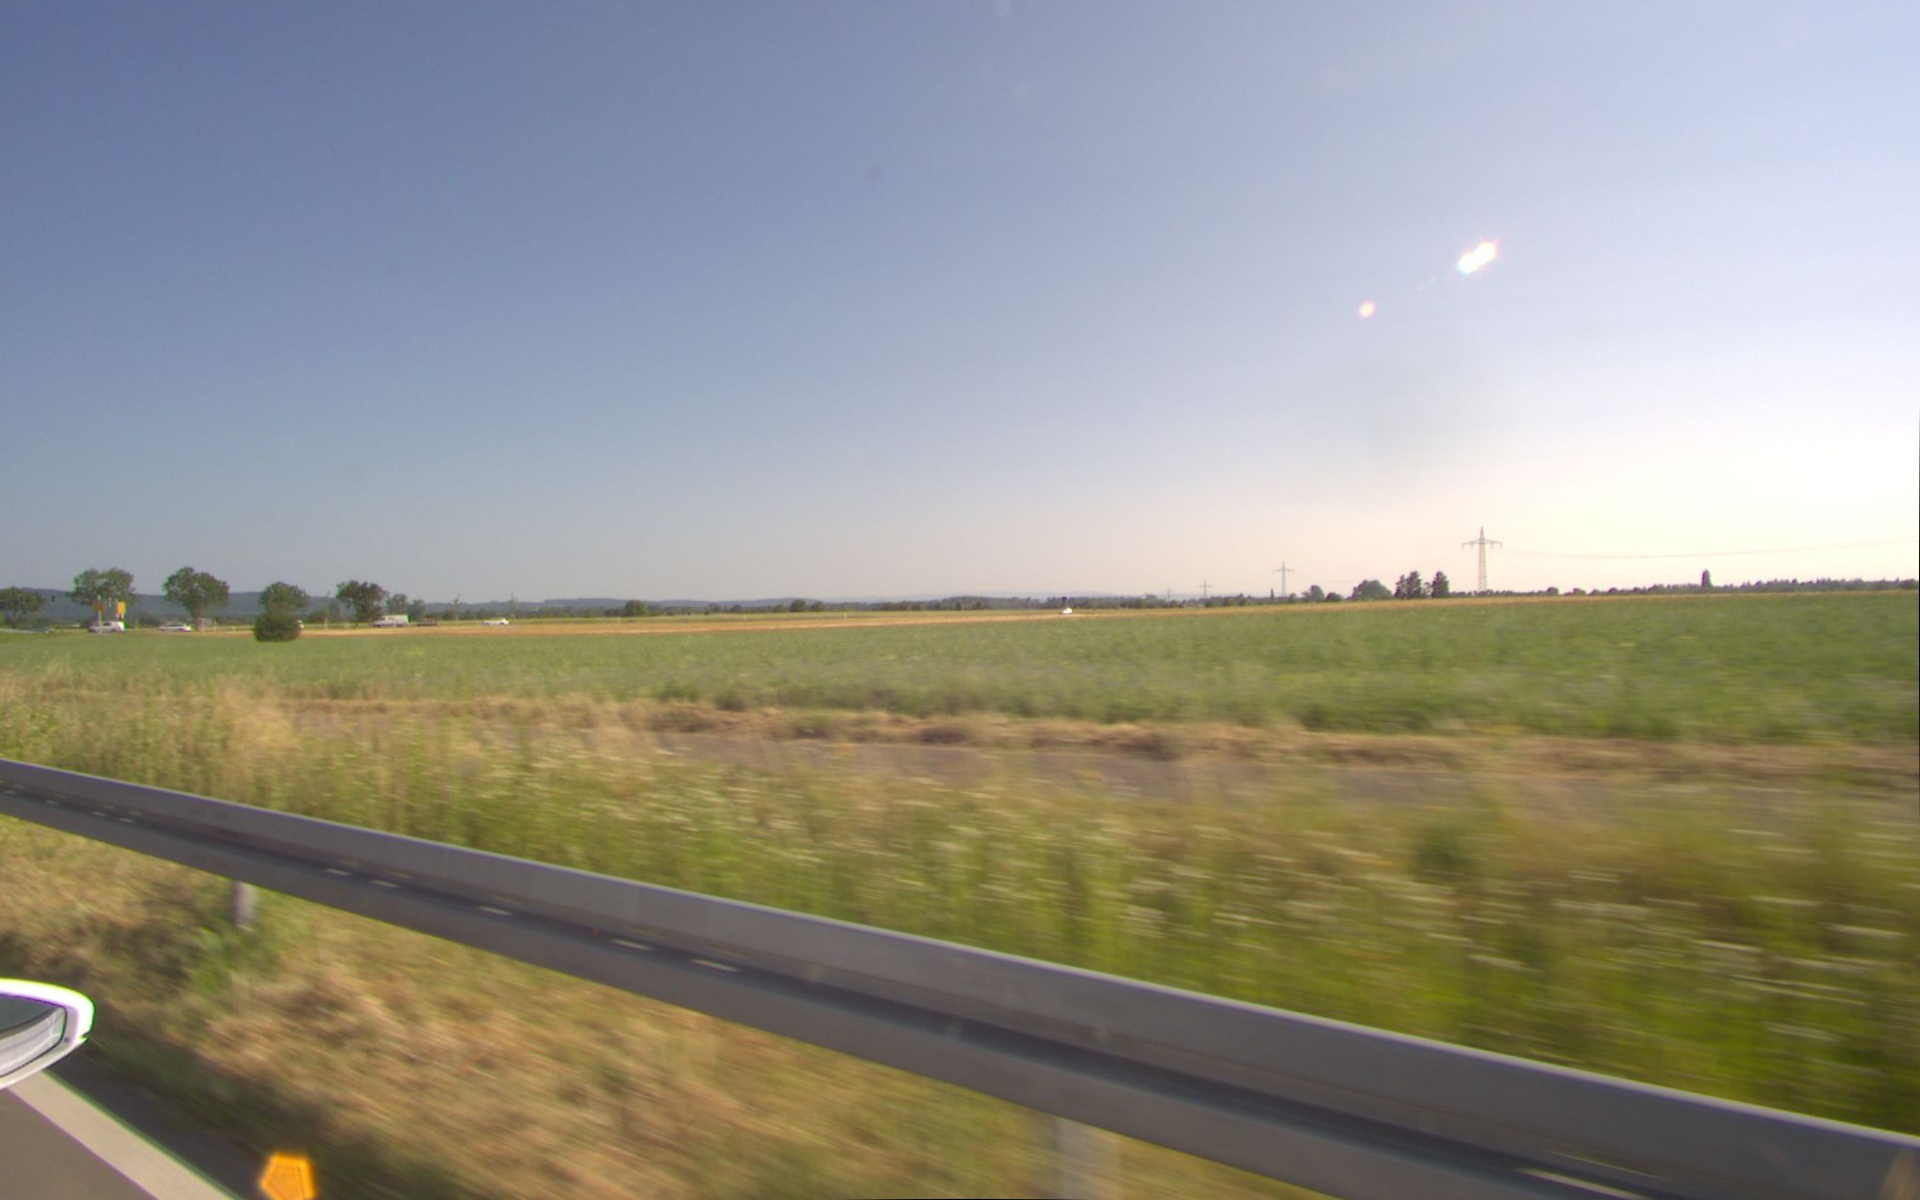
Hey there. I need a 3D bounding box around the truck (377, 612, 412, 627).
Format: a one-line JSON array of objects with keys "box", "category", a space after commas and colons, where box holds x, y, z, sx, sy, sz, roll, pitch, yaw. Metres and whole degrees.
[{"box": [-107.357, 3.677, 190.271, 5.511, 2.729, 3.284, 1, -2, -25], "category": "truck"}]

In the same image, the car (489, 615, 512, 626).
[{"box": [-90.203, 4.006, 196.513, 3.932, 2.040, 1.995, -1, -1, -20], "category": "car"}]

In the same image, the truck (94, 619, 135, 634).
[{"box": [-147.339, 4.703, 174.524, 4.984, 2.561, 1.995, 1, -2, -23], "category": "truck"}]

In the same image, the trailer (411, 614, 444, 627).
[{"box": [-102.398, 3.934, 192.626, 5.375, 2.383, 3.344, 1, -2, -25], "category": "trailer"}]
